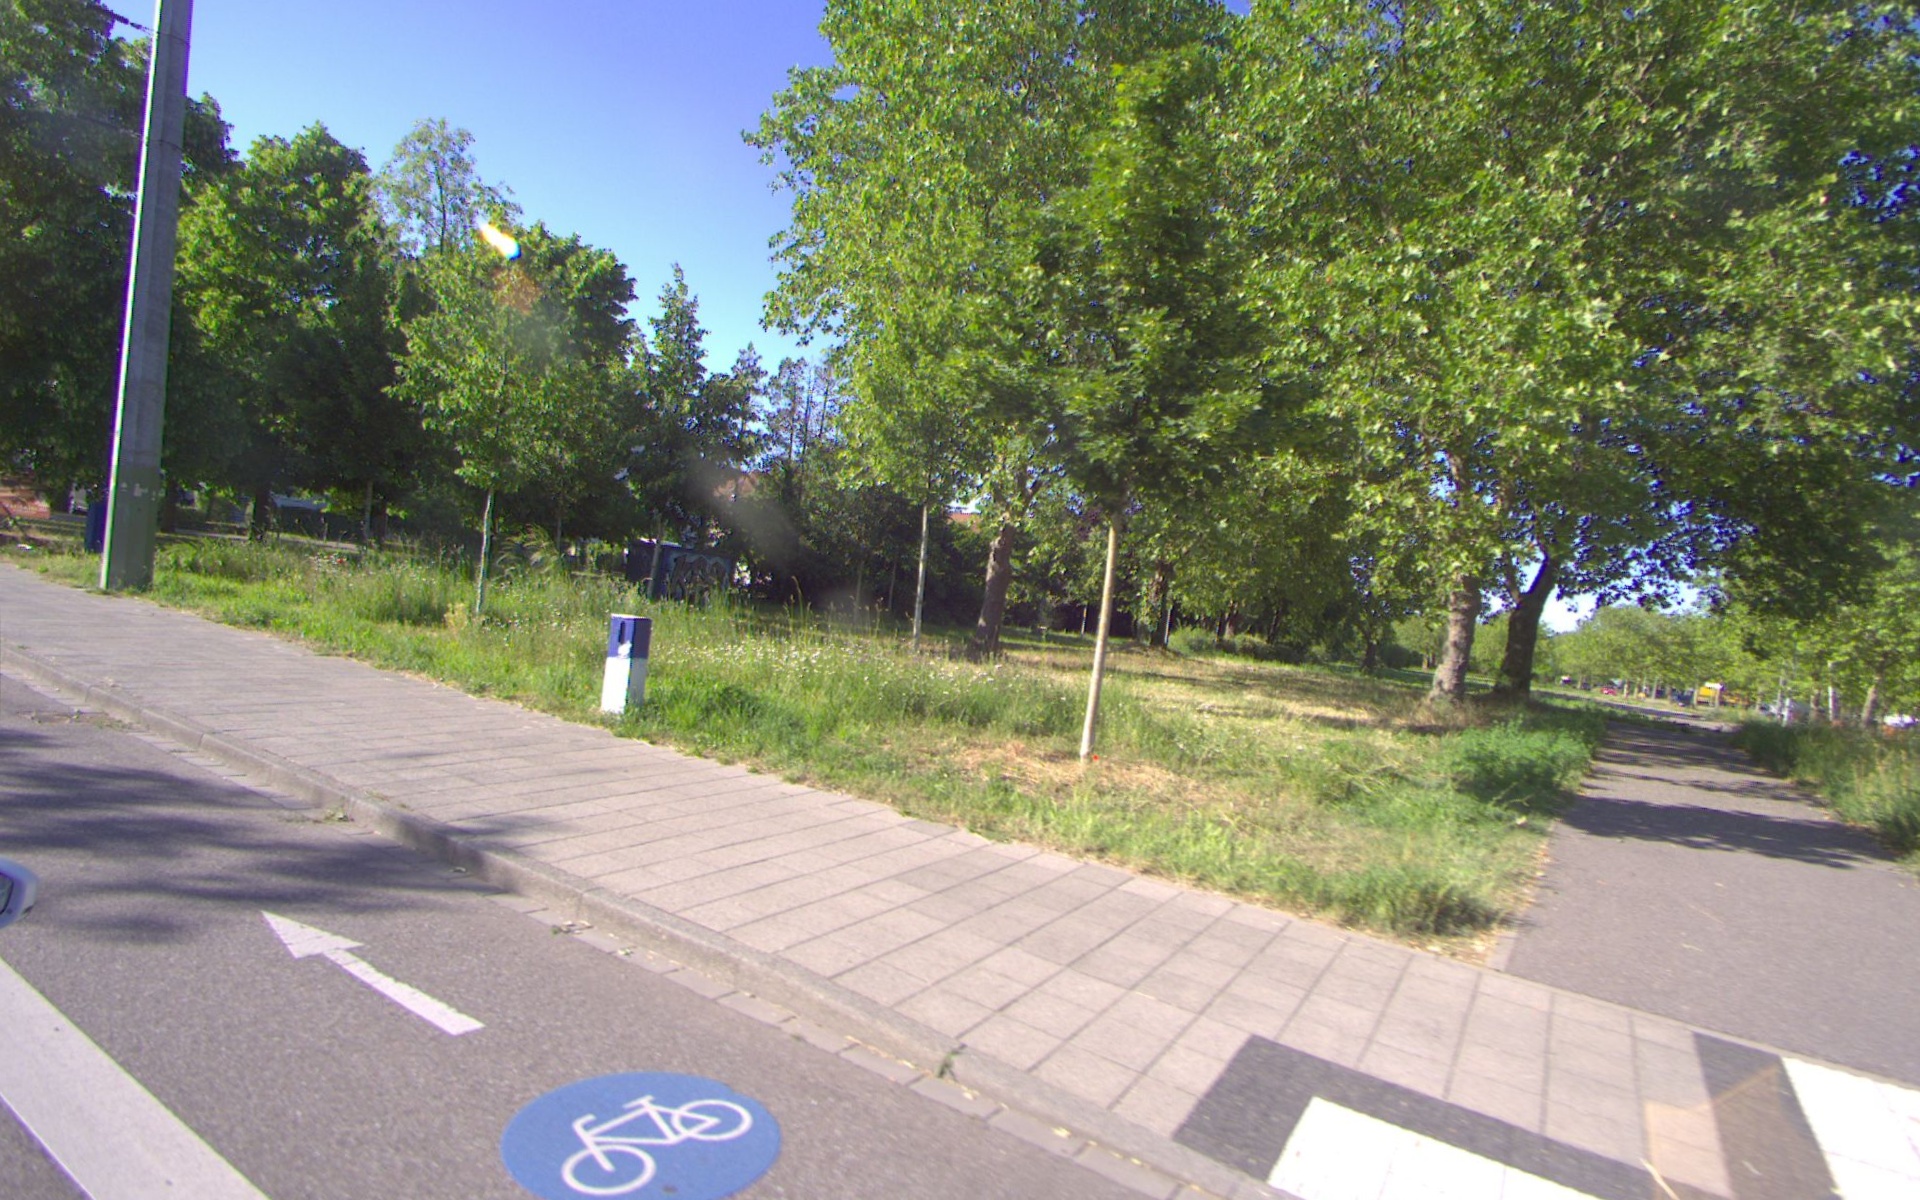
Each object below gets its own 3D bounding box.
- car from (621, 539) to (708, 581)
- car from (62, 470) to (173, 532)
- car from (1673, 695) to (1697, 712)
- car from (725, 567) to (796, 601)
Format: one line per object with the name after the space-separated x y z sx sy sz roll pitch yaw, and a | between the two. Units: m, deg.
-19.484 -2.631 66.203 5.775 2.064 2.020 7 0 32 | car
-34.398 -4.043 41.034 5.081 1.990 1.874 7 0 32 | car
81.700 11.616 113.353 1.935 1.550 3.986 8 1 37 | car
-14.914 -1.203 75.230 5.189 1.890 1.874 7 0 32 | car
